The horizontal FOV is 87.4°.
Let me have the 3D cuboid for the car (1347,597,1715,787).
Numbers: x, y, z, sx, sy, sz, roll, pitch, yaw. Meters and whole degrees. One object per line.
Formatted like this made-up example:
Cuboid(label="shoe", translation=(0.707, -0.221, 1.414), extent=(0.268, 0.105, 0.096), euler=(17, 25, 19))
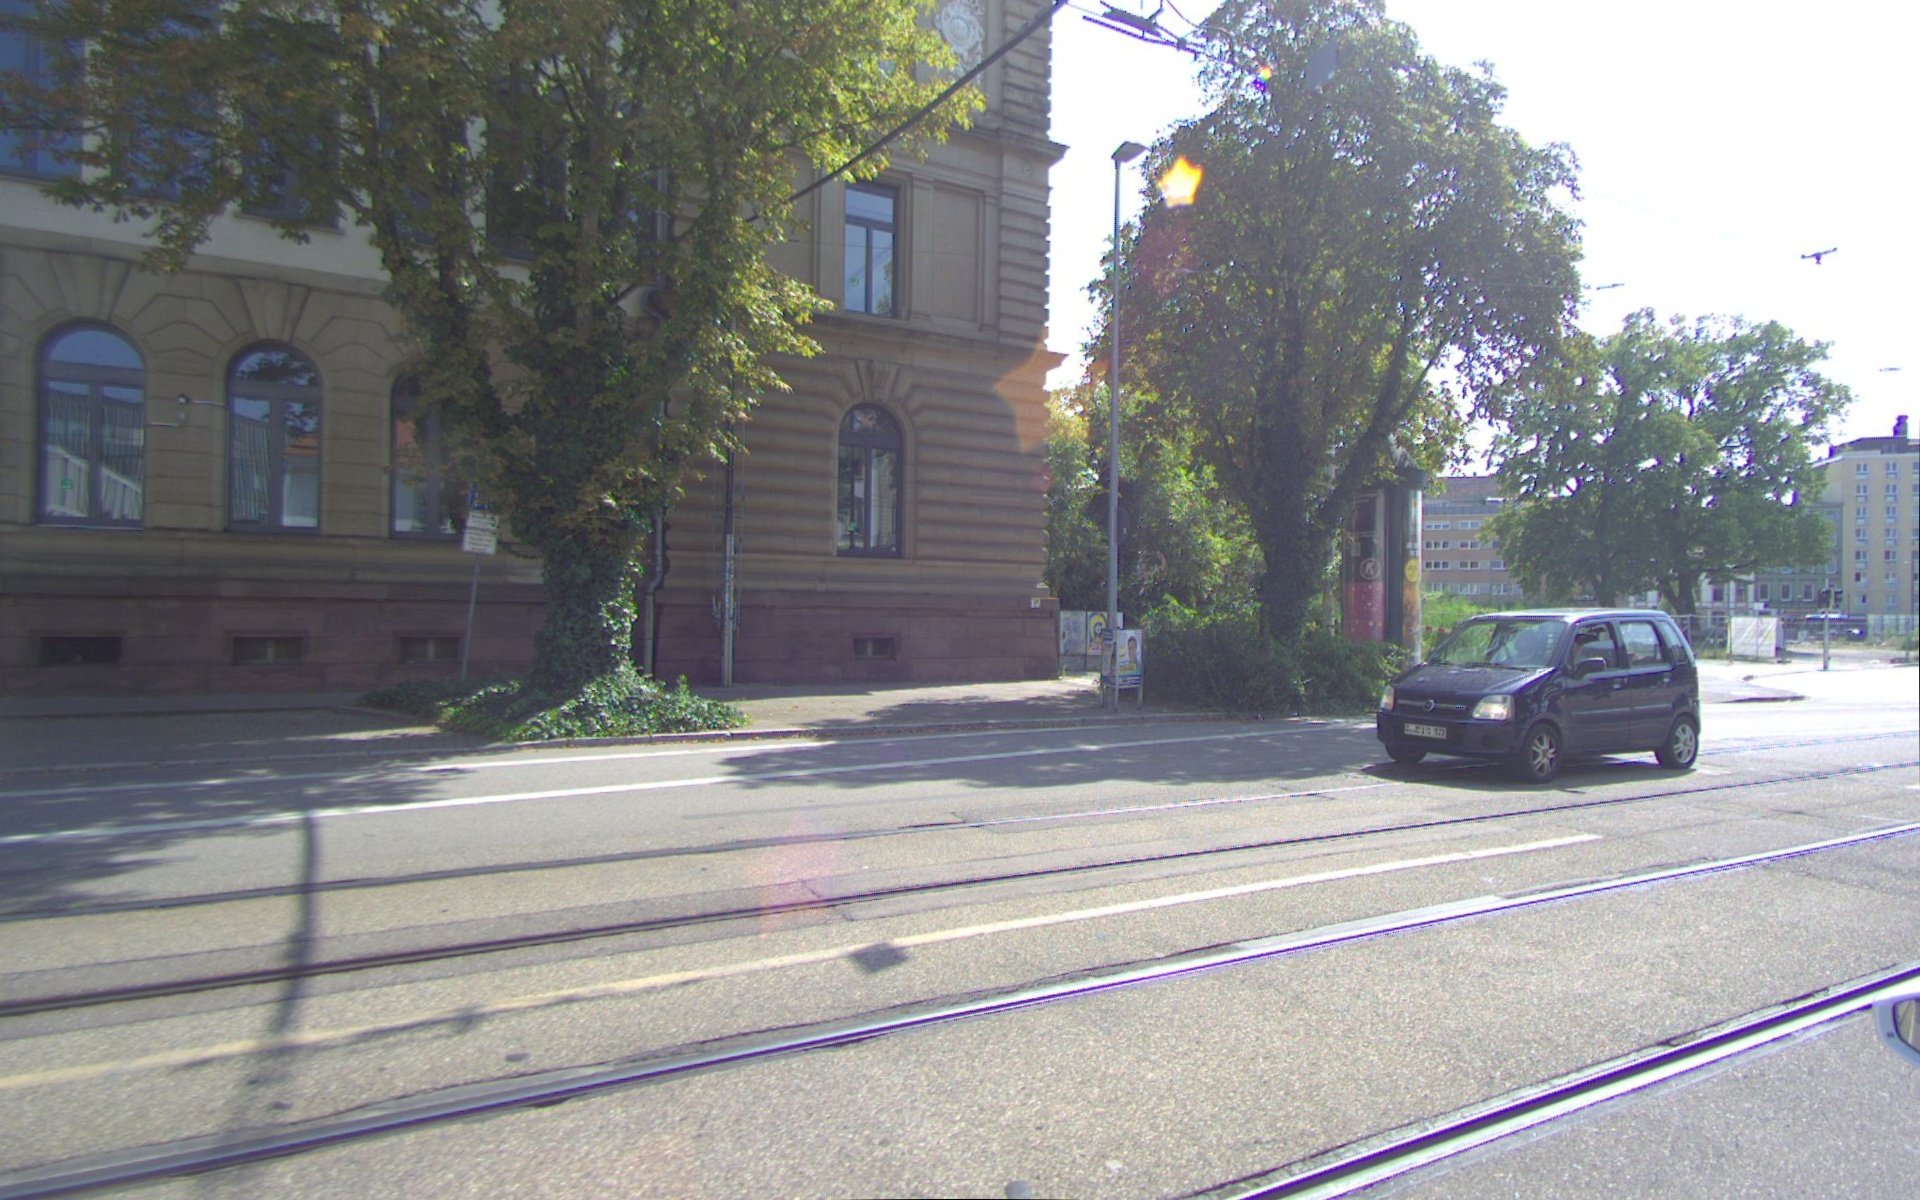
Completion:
Cuboid(label="car", translation=(5.965, 0.873, 10.466), extent=(3.535, 1.677, 1.685), euler=(2, -1, -27))
